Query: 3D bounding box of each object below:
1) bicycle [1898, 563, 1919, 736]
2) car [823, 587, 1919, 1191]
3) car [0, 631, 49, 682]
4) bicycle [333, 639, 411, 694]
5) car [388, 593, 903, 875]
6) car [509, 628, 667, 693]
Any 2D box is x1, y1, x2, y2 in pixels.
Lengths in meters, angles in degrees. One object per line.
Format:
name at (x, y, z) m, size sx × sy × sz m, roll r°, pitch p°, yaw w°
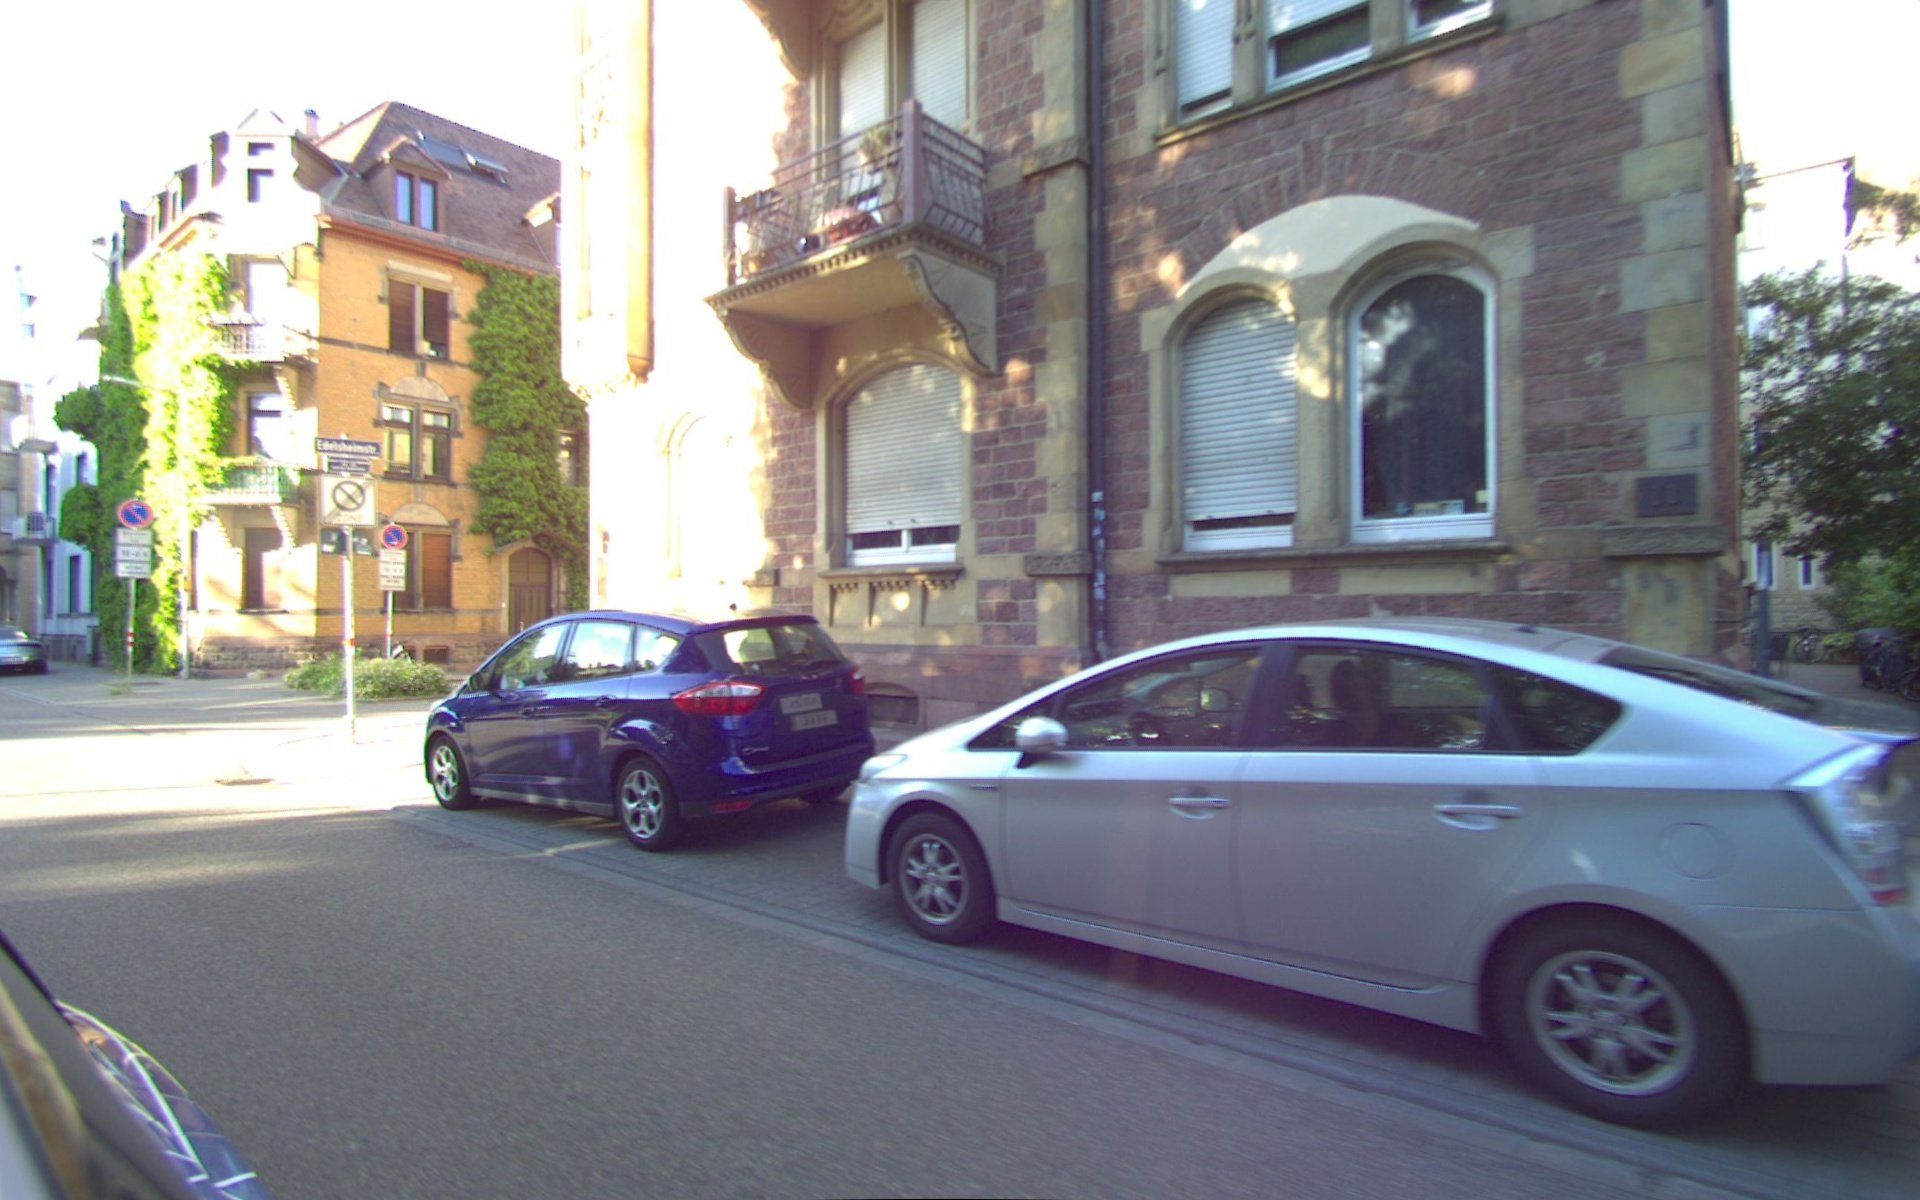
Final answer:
bicycle at (12.397, 0.582, 11.982) m, size 2.158 × 2.029 × 1.019 m, roll 1°, pitch -2°, yaw -22°
car at (1.612, 0.755, 4.242) m, size 4.449 × 1.510 × 1.713 m, roll -2°, pitch -1°, yaw 38°
car at (-29.222, 1.697, 30.533) m, size 4.921 × 1.415 × 1.858 m, roll -2°, pitch 0°, yaw 40°
bicycle at (-14.412, 1.604, 24.806) m, size 1.578 × 1.278 × 0.565 m, roll 0°, pitch -2°, yaw -41°
car at (-2.611, 0.822, 7.873) m, size 4.253 × 1.634 × 1.713 m, roll -2°, pitch -1°, yaw 38°
car at (-9.588, 1.483, 25.956) m, size 4.254 × 1.446 × 1.973 m, roll 0°, pitch -1°, yaw 41°
